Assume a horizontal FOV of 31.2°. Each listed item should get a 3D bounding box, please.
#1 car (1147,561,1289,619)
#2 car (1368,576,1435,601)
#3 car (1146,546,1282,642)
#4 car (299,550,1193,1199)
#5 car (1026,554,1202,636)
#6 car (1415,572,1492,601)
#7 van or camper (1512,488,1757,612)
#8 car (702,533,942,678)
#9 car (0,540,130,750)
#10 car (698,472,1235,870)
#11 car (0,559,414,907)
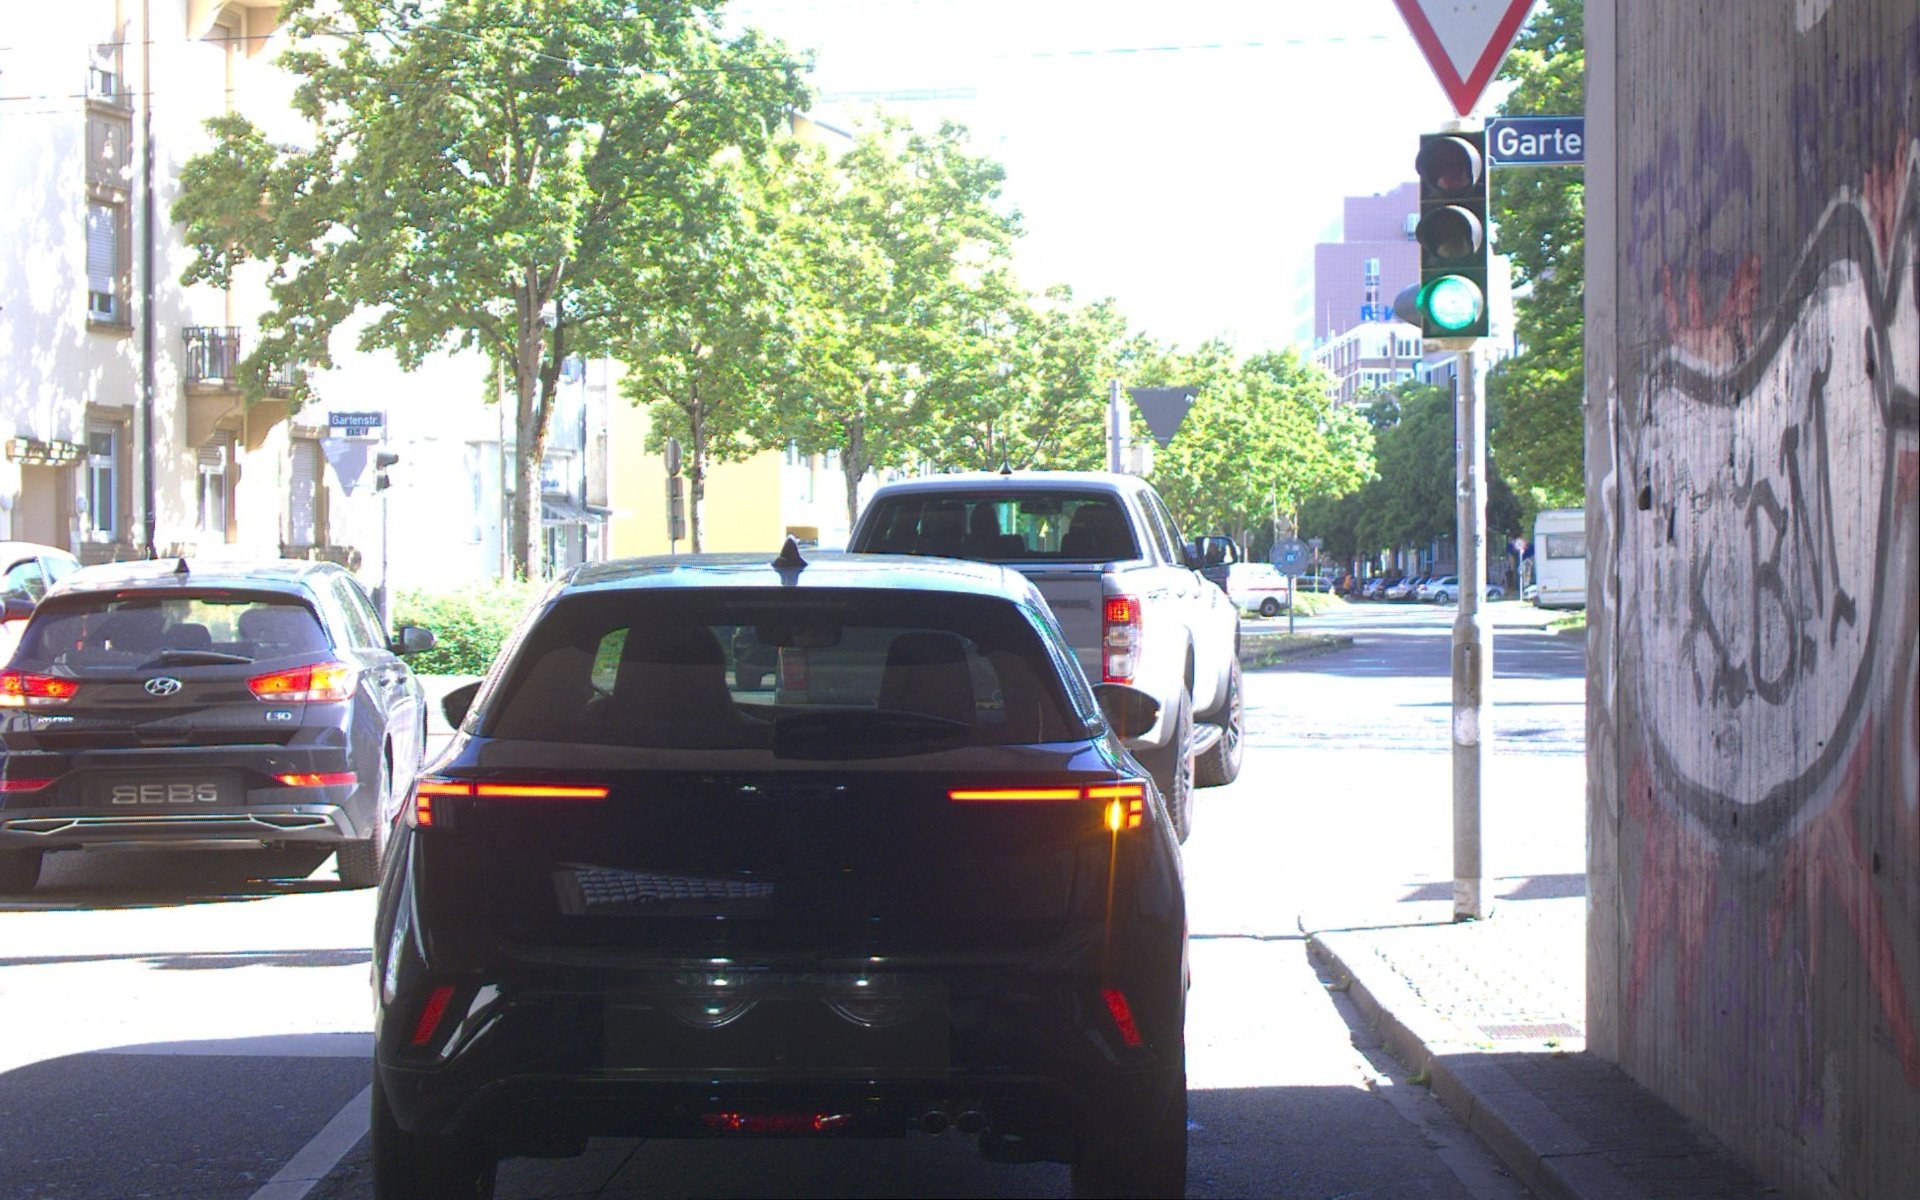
[{"bbox_3d":[9.583,-0.366,127.582,4.883,2.076,1.986,-1,0,-23],"label":"car"},{"bbox_3d":[27.173,-0.702,211.584,3.947,1.392,1.516,-3,0,3],"label":"car"},{"bbox_3d":[4.318,-0.124,57.968,1.706,1.507,3.861,-2,0,12],"label":"car"},{"bbox_3d":[-0.410,0.637,8.749,1.782,1.512,3.755,0,1,1],"label":"car"},{"bbox_3d":[4.912,-0.168,109.769,5.259,2.537,1.986,-1,0,-14],"label":"car"},{"bbox_3d":[26.917,-0.725,187.567,3.947,1.392,1.516,-3,0,3],"label":"car"},{"bbox_3d":[17.642,-1.290,90.042,6.081,2.919,2.574,-3,0,11],"label":"van or camper"},{"bbox_3d":[-1.455,0.032,37.805,1.789,1.508,4.114,0,1,10],"label":"car"},{"bbox_3d":[-7.280,0.298,24.347,1.658,1.436,3.462,0,1,6],"label":"car"},{"bbox_3d":[0.214,0.297,18.411,2.134,1.829,4.939,0,1,9],"label":"car"},{"bbox_3d":[-3.602,0.529,16.611,1.800,1.446,4.327,0,1,-8],"label":"car"}]
